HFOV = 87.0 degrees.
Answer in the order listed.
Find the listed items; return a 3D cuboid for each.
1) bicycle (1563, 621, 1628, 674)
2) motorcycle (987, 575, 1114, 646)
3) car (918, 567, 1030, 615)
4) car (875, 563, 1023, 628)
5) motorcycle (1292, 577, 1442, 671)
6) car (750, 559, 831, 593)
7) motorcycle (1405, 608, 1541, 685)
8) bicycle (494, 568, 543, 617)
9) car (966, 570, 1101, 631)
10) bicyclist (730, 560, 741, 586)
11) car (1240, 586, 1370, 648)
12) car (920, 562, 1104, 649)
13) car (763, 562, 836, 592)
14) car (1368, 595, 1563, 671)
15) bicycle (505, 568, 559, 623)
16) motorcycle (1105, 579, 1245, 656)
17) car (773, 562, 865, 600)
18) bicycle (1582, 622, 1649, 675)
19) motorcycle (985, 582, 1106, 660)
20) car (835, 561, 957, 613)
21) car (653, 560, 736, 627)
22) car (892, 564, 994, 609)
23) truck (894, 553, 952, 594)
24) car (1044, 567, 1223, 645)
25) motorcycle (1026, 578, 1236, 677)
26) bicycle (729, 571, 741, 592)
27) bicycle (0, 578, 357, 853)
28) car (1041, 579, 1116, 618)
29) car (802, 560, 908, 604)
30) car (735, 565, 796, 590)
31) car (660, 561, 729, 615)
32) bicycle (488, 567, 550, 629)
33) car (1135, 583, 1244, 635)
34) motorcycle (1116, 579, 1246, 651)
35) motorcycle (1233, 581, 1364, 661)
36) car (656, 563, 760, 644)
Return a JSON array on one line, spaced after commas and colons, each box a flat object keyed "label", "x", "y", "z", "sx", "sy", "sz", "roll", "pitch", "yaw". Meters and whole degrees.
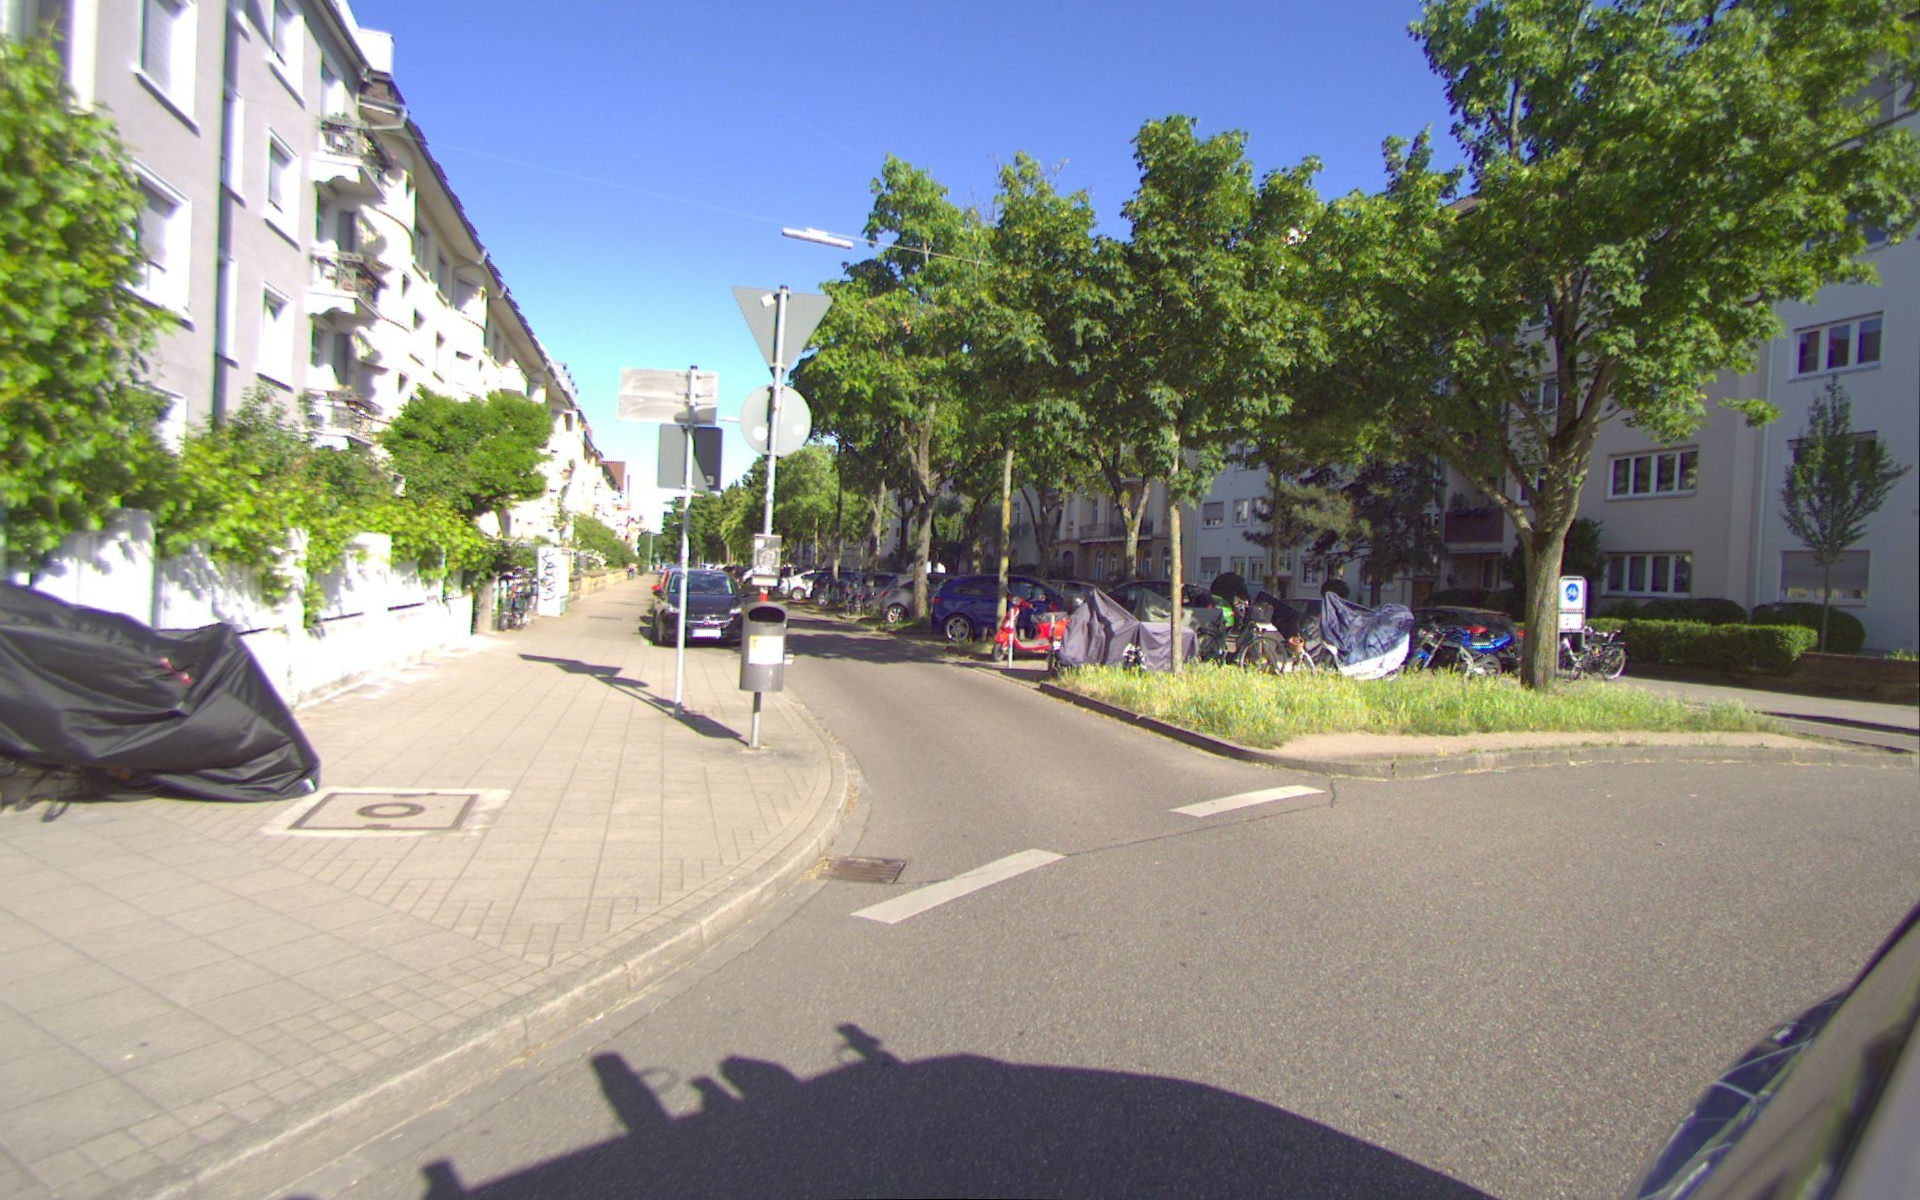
[{"label": "bicycle", "x": 13.564, "y": 1.006, "z": 21.594, "sx": 1.419, "sy": 1.070, "sz": 0.331, "roll": 0, "pitch": 2, "yaw": -18}, {"label": "motorcycle", "x": 1.765, "y": 0.203, "z": 19.841, "sx": 2.195, "sy": 1.283, "sz": 1.054, "roll": 2, "pitch": 1, "yaw": -16}, {"label": "car", "x": 0.540, "y": -0.354, "z": 37.182, "sx": 3.931, "sy": 1.568, "sz": 1.779, "roll": 3, "pitch": 1, "yaw": 6}, {"label": "car", "x": -0.285, "y": -0.160, "z": 28.671, "sx": 3.934, "sy": 1.610, "sz": 1.703, "roll": 3, "pitch": 1, "yaw": 9}, {"label": "motorcycle", "x": 6.202, "y": 0.365, "z": 15.442, "sx": 2.011, "sy": 1.344, "sz": 0.865, "roll": 2, "pitch": 1, "yaw": -20}, {"label": "car", "x": -9.126, "y": -1.289, "z": 54.653, "sx": 3.934, "sy": 1.610, "sz": 1.882, "roll": 3, "pitch": 1, "yaw": 9}, {"label": "motorcycle", "x": 8.146, "y": 0.734, "z": 16.088, "sx": 1.806, "sy": 1.086, "sz": 0.816, "roll": 3, "pitch": 1, "yaw": -16}, {"label": "bicycle", "x": -10.596, "y": -0.205, "z": 24.348, "sx": 0.668, "sy": 1.072, "sz": 2.262, "roll": 2, "pitch": 2, "yaw": -14}, {"label": "car", "x": 2.266, "y": -0.012, "z": 30.805, "sx": 3.932, "sy": 1.618, "sz": 1.875, "roll": 3, "pitch": 1, "yaw": 7}, {"label": "bicyclist", "x": -12.474, "y": -1.492, "z": 56.155, "sx": 0.496, "sy": 1.384, "sz": 0.704, "roll": 2, "pitch": 1, "yaw": -17}, {"label": "car", "x": 10.038, "y": 0.450, "z": 29.771, "sx": 1.747, "sy": 1.503, "sz": 4.009, "roll": 3, "pitch": 1, "yaw": -12}, {"label": "car", "x": 1.205, "y": 0.084, "z": 22.525, "sx": 3.817, "sy": 1.660, "sz": 1.797, "roll": 3, "pitch": 1, "yaw": 12}, {"label": "car", "x": -9.671, "y": -1.372, "z": 61.208, "sx": 3.934, "sy": 1.610, "sz": 1.882, "roll": 3, "pitch": 1, "yaw": 9}, {"label": "car", "x": 11.772, "y": 0.711, "z": 23.902, "sx": 1.794, "sy": 1.429, "sz": 4.010, "roll": 3, "pitch": 1, "yaw": -16}, {"label": "bicycle", "x": -9.066, "y": -0.120, "z": 21.506, "sx": 0.668, "sy": 1.072, "sz": 2.262, "roll": 2, "pitch": 2, "yaw": -14}, {"label": "motorcycle", "x": 3.880, "y": 0.315, "z": 18.331, "sx": 2.195, "sy": 1.283, "sz": 1.054, "roll": 2, "pitch": 1, "yaw": -16}, {"label": "car", "x": -6.681, "y": -0.902, "z": 48.175, "sx": 3.934, "sy": 1.610, "sz": 1.882, "roll": 3, "pitch": 1, "yaw": 9}, {"label": "bicycle", "x": 13.704, "y": 1.004, "z": 21.140, "sx": 1.419, "sy": 1.070, "sz": 0.331, "roll": 0, "pitch": 2, "yaw": -18}, {"label": "motorcycle", "x": 1.477, "y": 0.357, "z": 17.630, "sx": 1.854, "sy": 1.252, "sz": 0.892, "roll": 2, "pitch": 1, "yaw": -16}, {"label": "car", "x": -2.203, "y": -0.472, "z": 35.485, "sx": 3.934, "sy": 1.610, "sz": 1.882, "roll": 3, "pitch": 1, "yaw": 9}, {"label": "car", "x": -6.741, "y": -0.209, "z": 25.450, "sx": 1.716, "sy": 1.463, "sz": 3.863, "roll": 3, "pitch": 1, "yaw": -19}, {"label": "car", "x": -0.719, "y": -0.599, "z": 43.738, "sx": 3.957, "sy": 1.745, "sz": 1.871, "roll": 3, "pitch": 1, "yaw": 24}, {"label": "truck", "x": -2.687, "y": -1.923, "z": 71.981, "sx": 2.360, "sy": 2.709, "sz": 5.921, "roll": 3, "pitch": 1, "yaw": -19}, {"label": "car", "x": 4.075, "y": 0.118, "z": 24.382, "sx": 3.926, "sy": 1.618, "sz": 1.999, "roll": 3, "pitch": 1, "yaw": 2}, {"label": "motorcycle", "x": 2.450, "y": 0.390, "z": 14.484, "sx": 2.725, "sy": 1.283, "sz": 1.129, "roll": 2, "pitch": 1, "yaw": -22}, {"label": "bicycle", "x": -12.503, "y": -1.032, "z": 56.158, "sx": 0.504, "sy": 1.078, "sz": 1.914, "roll": 2, "pitch": 1, "yaw": -17}, {"label": "bicycle", "x": -4.283, "y": 0.497, "z": 4.898, "sx": 0.759, "sy": 1.172, "sz": 2.264, "roll": 2, "pitch": 0, "yaw": 27}, {"label": "car", "x": 5.293, "y": -0.090, "z": 45.790, "sx": 1.747, "sy": 1.503, "sz": 4.010, "roll": 3, "pitch": 1, "yaw": -19}, {"label": "car", "x": -4.296, "y": -0.749, "z": 41.638, "sx": 3.934, "sy": 1.610, "sz": 1.882, "roll": 3, "pitch": 1, "yaw": 9}, {"label": "car", "x": -14.235, "y": -1.670, "z": 74.217, "sx": 3.934, "sy": 1.610, "sz": 1.882, "roll": 3, "pitch": 1, "yaw": 9}, {"label": "car", "x": -8.155, "y": -0.405, "z": 30.922, "sx": 1.716, "sy": 1.463, "sz": 3.863, "roll": 3, "pitch": 1, "yaw": -19}, {"label": "bicycle", "x": -8.308, "y": -0.069, "z": 19.141, "sx": 0.668, "sy": 1.072, "sz": 2.262, "roll": 2, "pitch": 2, "yaw": -14}, {"label": "car", "x": 7.890, "y": 0.259, "z": 35.175, "sx": 1.747, "sy": 1.524, "sz": 4.010, "roll": 3, "pitch": 1, "yaw": -19}, {"label": "motorcycle", "x": 4.286, "y": 0.280, "z": 19.691, "sx": 2.195, "sy": 1.283, "sz": 1.054, "roll": 2, "pitch": 1, "yaw": -16}, {"label": "motorcycle", "x": 6.410, "y": 0.390, "z": 19.197, "sx": 2.082, "sy": 1.409, "sz": 1.065, "roll": 2, "pitch": 1, "yaw": -18}, {"label": "car", "x": -5.218, "y": -0.007, "z": 20.614, "sx": 1.716, "sy": 1.463, "sz": 3.965, "roll": 0, "pitch": 2, "yaw": -19}]
